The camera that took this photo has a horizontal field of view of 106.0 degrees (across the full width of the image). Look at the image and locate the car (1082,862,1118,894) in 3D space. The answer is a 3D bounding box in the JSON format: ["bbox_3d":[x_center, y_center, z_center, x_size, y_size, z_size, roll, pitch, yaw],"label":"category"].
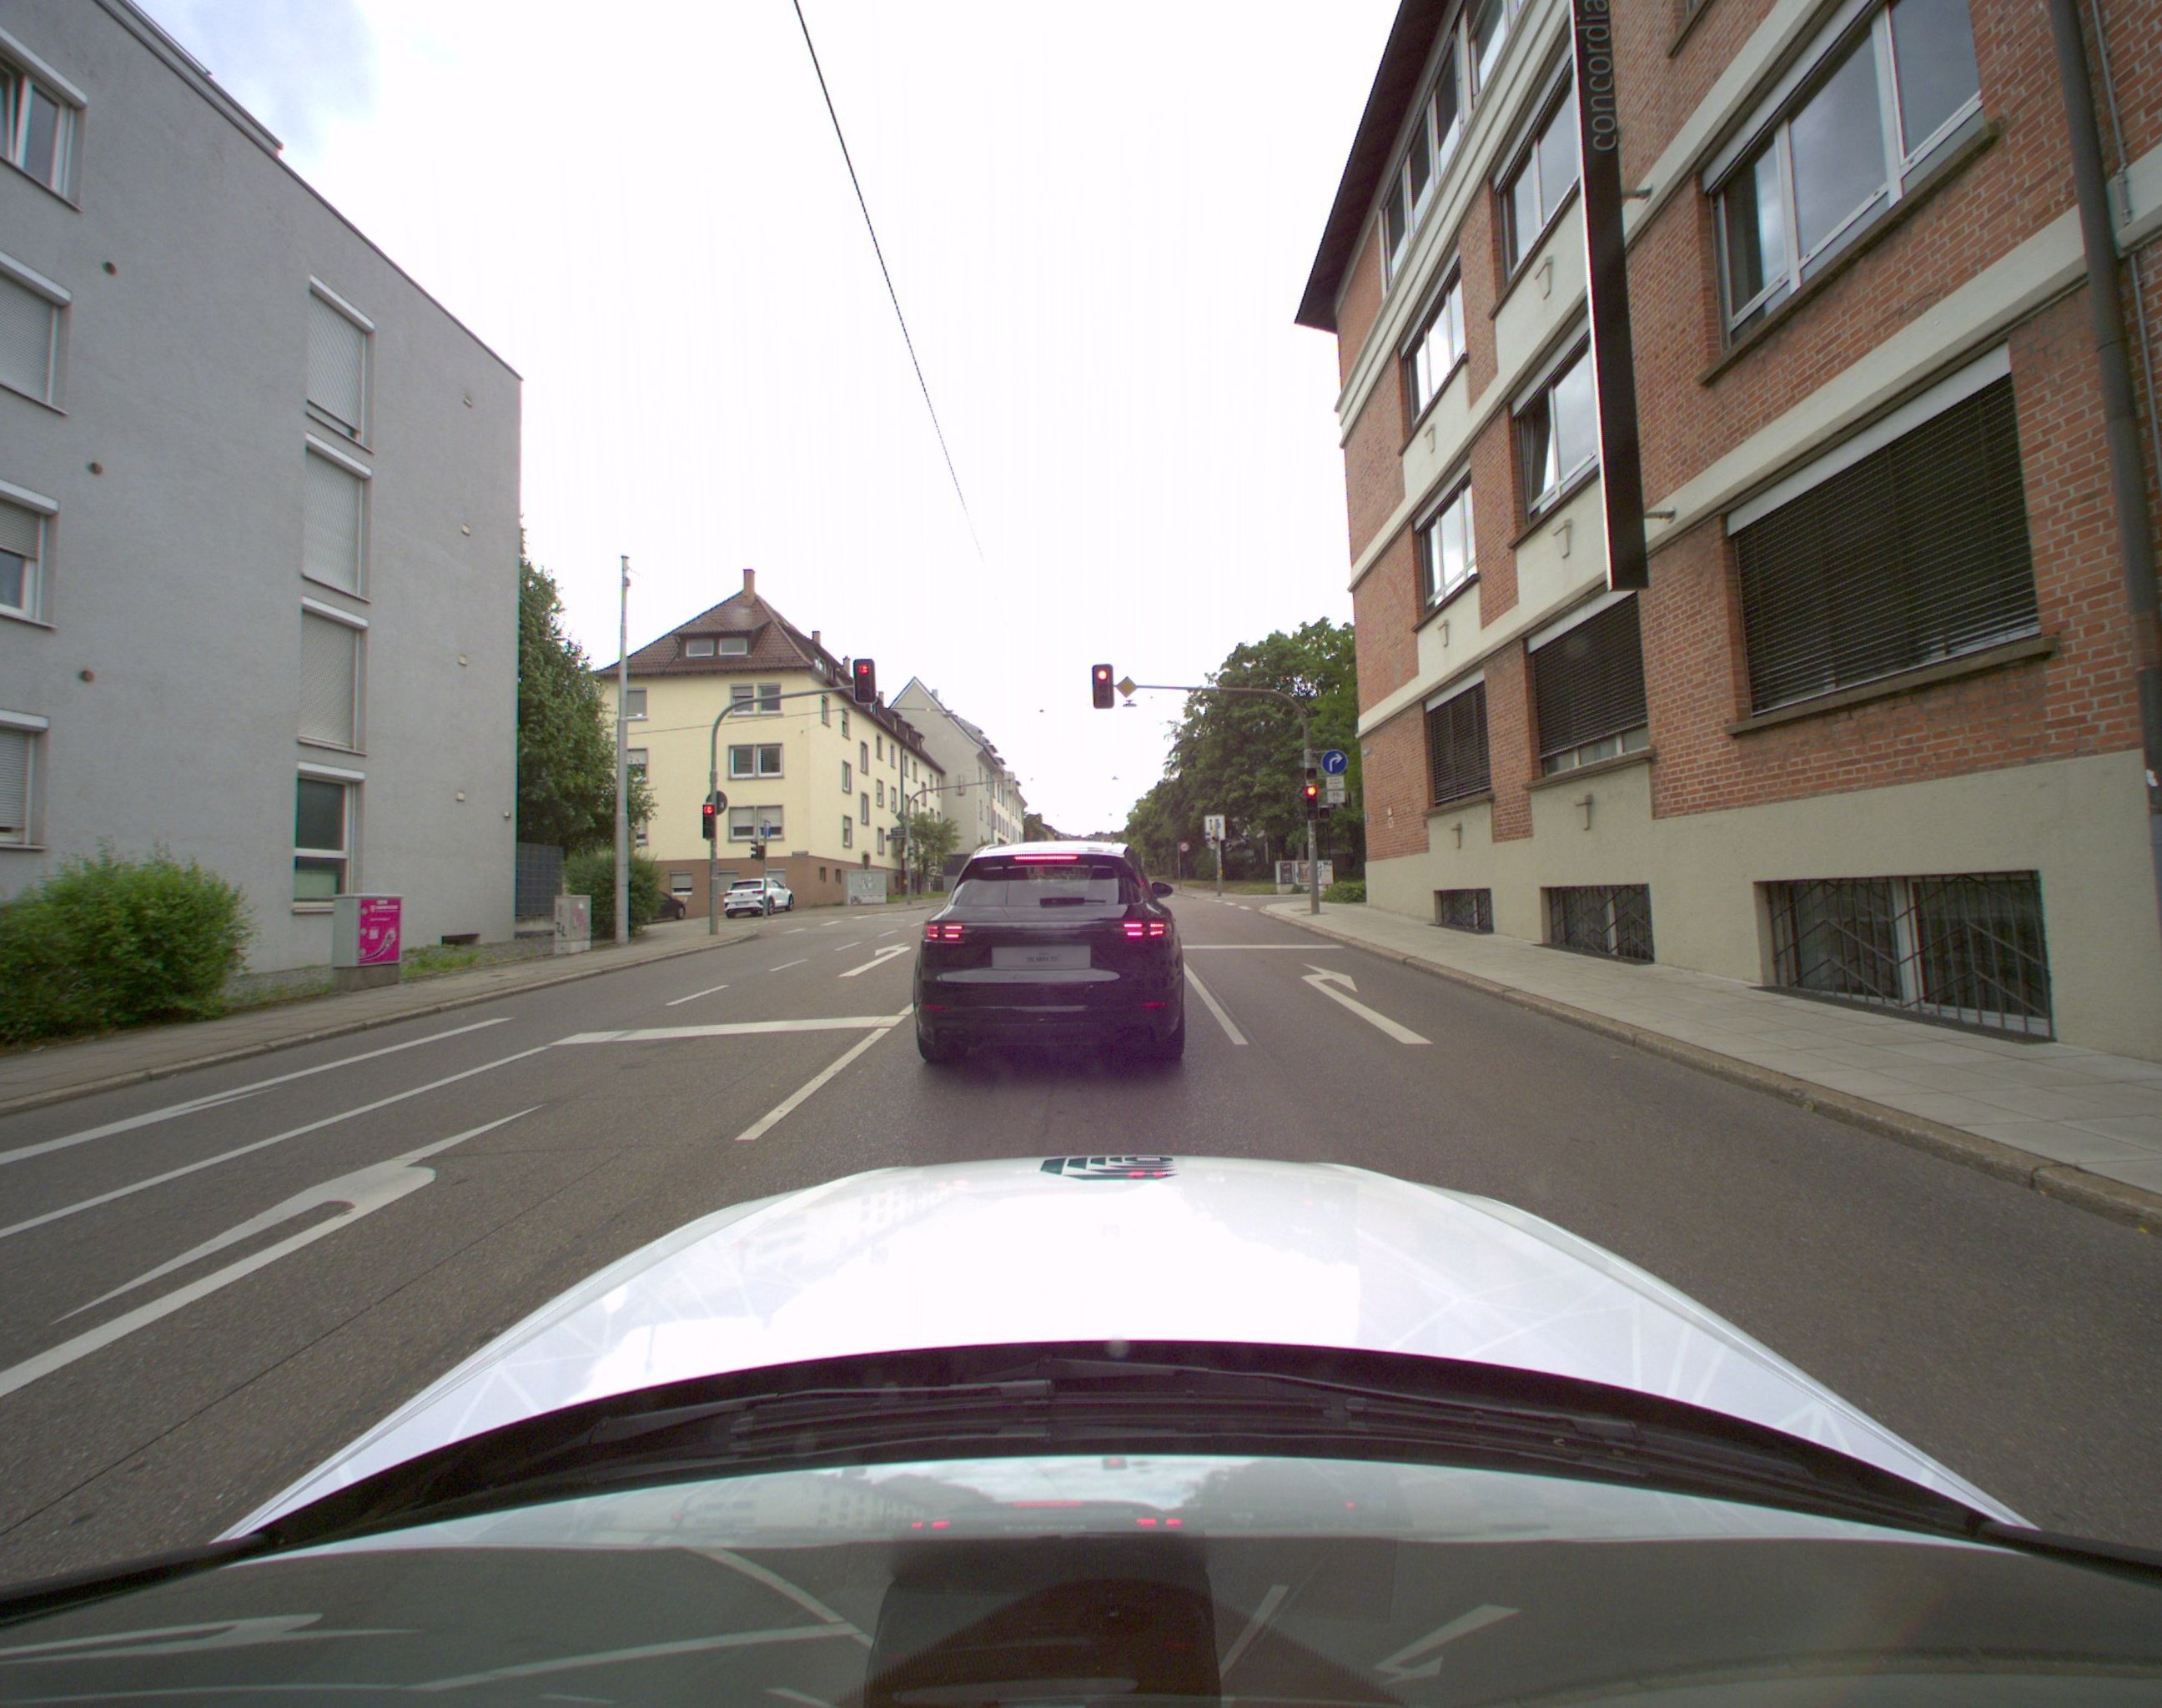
[{"bbox_3d":[1.048,1.269,43.941,1.820,1.605,4.137,0,0,2],"label":"car"}]

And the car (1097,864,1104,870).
[{"bbox_3d":[5.047,3.303,210.386,1.820,1.605,4.137,0,0,2],"label":"car"}]

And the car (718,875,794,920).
[{"bbox_3d":[-13.535,1.767,34.171,1.686,1.555,3.763,-4,0,-2],"label":"car"}]

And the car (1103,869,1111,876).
[{"bbox_3d":[5.841,4.157,182.542,1.820,1.605,4.137,0,0,2],"label":"car"}]

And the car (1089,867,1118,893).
[{"bbox_3d":[1.461,1.650,52.649,1.820,1.605,3.860,0,0,2],"label":"car"}]

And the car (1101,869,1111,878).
[{"bbox_3d":[5.008,3.921,163.376,1.820,1.605,4.137,0,0,2],"label":"car"}]

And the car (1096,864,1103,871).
[{"bbox_3d":[4.629,3.326,203.065,1.820,1.605,4.137,0,0,2],"label":"car"}]

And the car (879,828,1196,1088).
[{"bbox_3d":[-0.204,0.675,7.382,2.040,1.666,4.269,0,0,2],"label":"car"}]

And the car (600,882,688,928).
[{"bbox_3d":[-18.500,2.131,34.647,1.686,1.608,3.763,-4,0,-2],"label":"car"}]

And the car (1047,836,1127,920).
[{"bbox_3d":[0.227,0.594,22.033,1.957,2.042,4.137,0,0,2],"label":"car"}]
